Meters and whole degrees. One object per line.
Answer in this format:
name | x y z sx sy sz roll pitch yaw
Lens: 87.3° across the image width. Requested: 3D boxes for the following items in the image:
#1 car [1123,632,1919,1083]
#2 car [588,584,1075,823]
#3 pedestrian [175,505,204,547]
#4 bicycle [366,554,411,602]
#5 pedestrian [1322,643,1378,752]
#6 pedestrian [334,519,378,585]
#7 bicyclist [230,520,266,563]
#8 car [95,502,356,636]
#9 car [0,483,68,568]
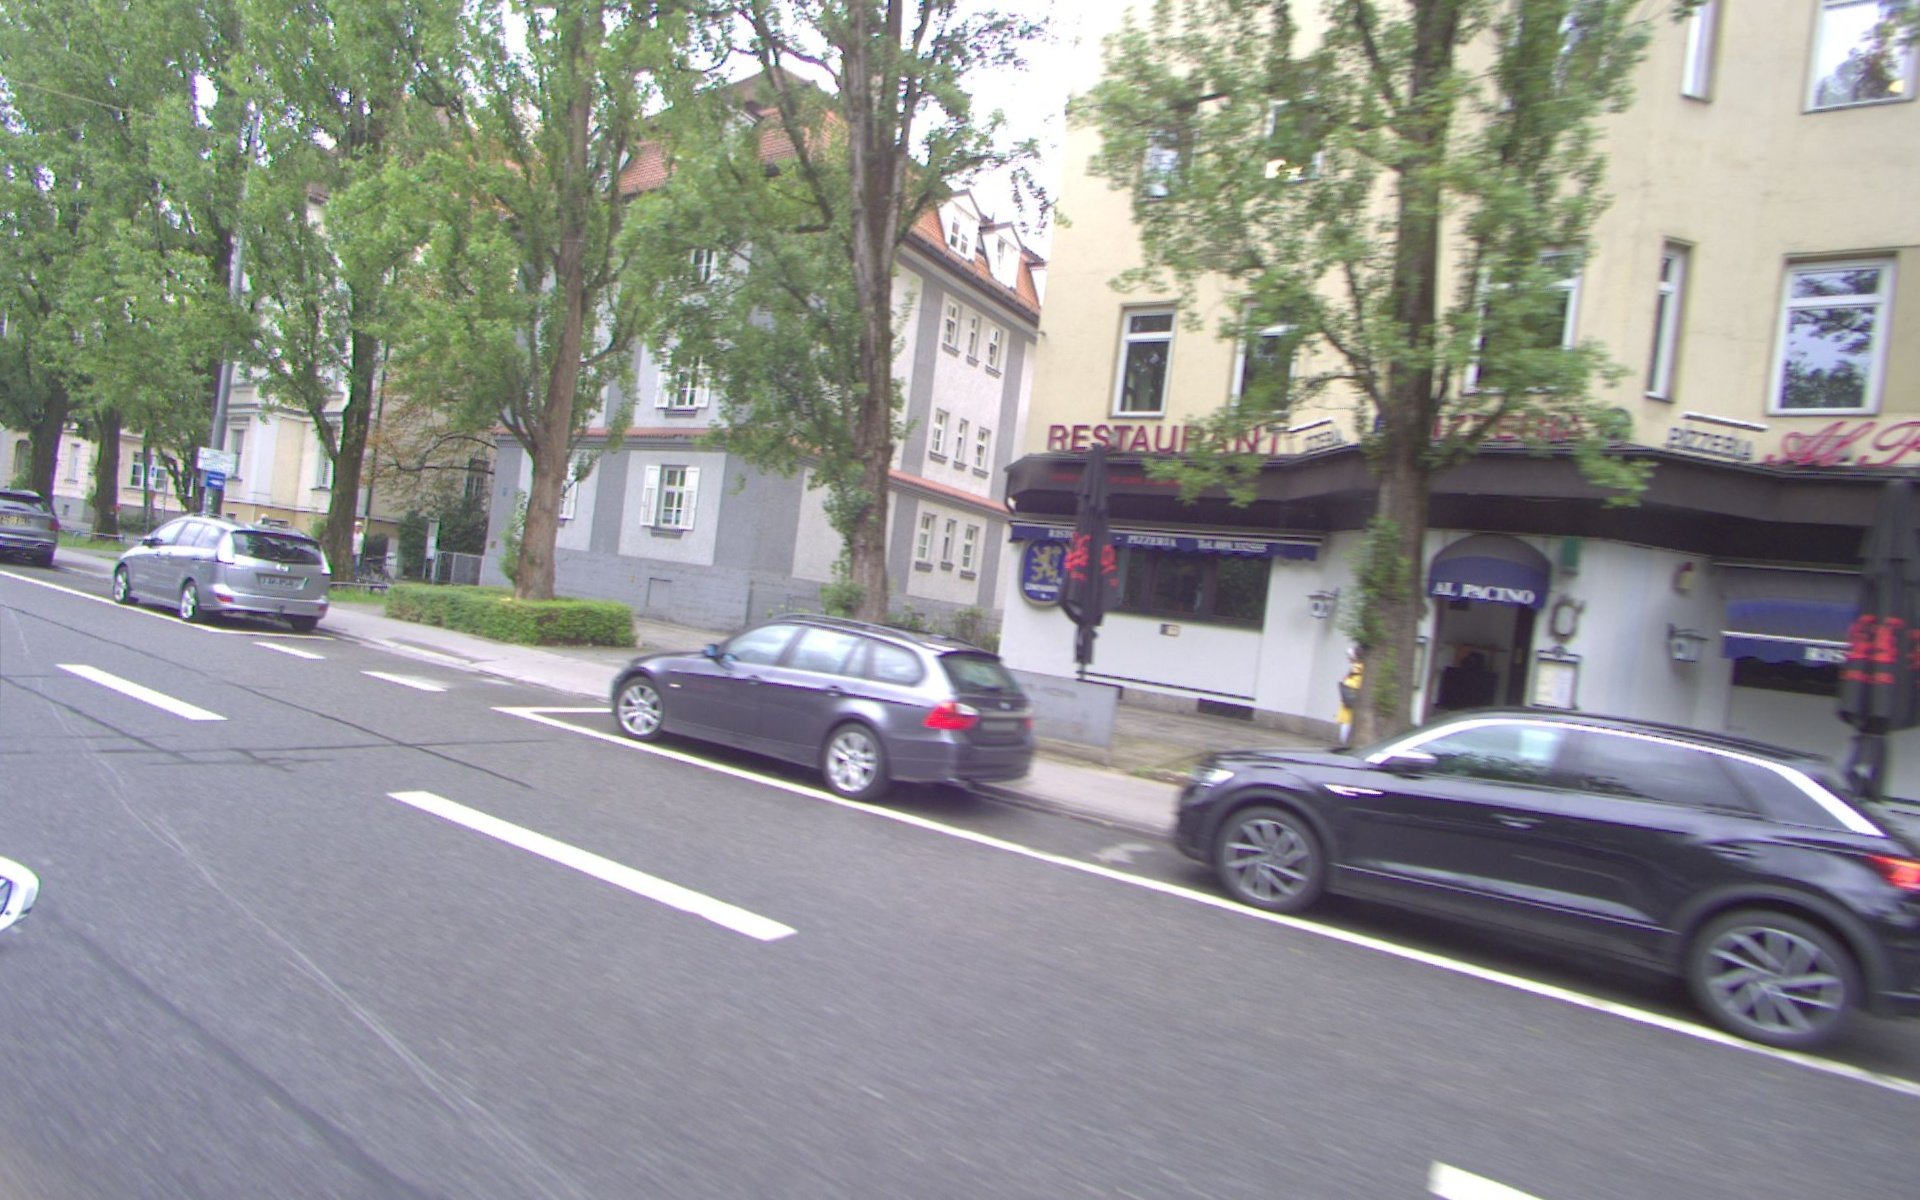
car | 3.443 1.313 6.446 4.234 1.632 1.801 7 0 32
car | -1.313 0.837 9.532 4.309 1.415 1.801 7 0 32
pedestrian | -30.913 -2.970 40.337 0.726 1.566 0.553 9 1 32
bicycle | -13.992 -0.533 24.630 1.208 1.000 0.355 9 1 34
pedestrian | 6.019 1.498 15.520 0.487 1.581 0.573 9 1 33
pedestrian | -17.485 -1.387 29.123 0.811 1.760 0.592 9 1 33
bicyclist | -24.099 -1.964 34.058 0.694 1.331 0.661 7 1 32
car | -11.967 -0.531 16.313 4.472 1.632 1.801 7 0 32
car | -22.978 -1.906 23.582 4.623 1.764 1.801 7 0 32
